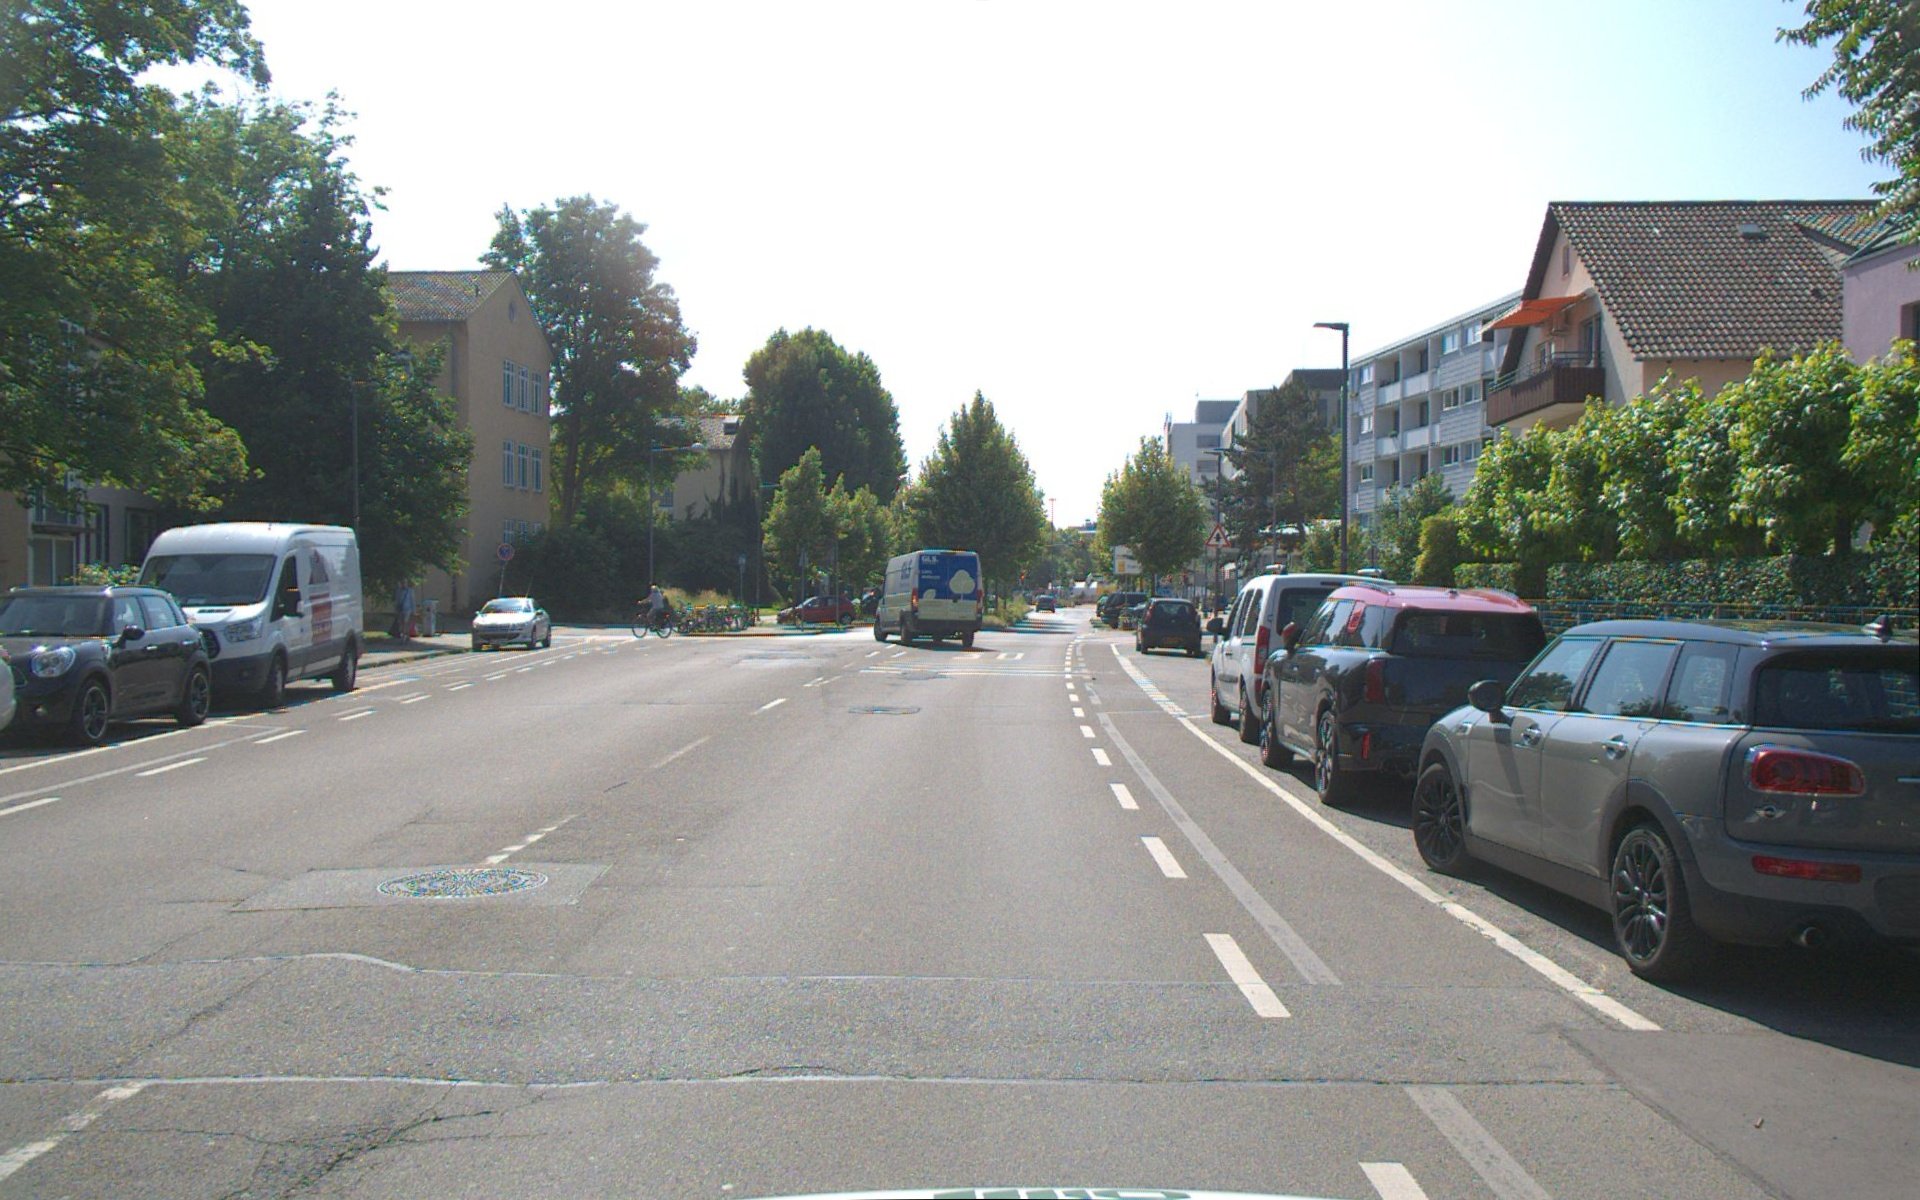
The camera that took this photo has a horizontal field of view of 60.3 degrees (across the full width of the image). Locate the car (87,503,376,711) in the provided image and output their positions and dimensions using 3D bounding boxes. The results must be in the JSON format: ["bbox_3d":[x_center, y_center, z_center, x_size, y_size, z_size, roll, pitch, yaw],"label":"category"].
[{"bbox_3d":[-10.048,0.046,23.425,2.049,2.540,5.944,-1,1,-7],"label":"car"}]

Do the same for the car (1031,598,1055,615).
[{"bbox_3d":[7.452,0.586,148.621,1.952,1.422,4.000,0,0,1],"label":"car"}]

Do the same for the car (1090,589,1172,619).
[{"bbox_3d":[9.960,0.226,96.335,4.680,1.689,1.735,0,0,-30],"label":"car"}]

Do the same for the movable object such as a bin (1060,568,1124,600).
[{"bbox_3d":[19.960,-2.411,250.296,9.470,4.629,3.166,1,0,6],"label":"movable object such as a bin"}]

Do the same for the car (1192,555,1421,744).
[{"bbox_3d":[3.871,0.524,19.230,1.726,1.858,4.599,2,-1,1],"label":"car"}]

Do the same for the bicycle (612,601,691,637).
[{"bbox_3d":[-10.190,0.620,54.565,2.496,1.132,0.959,-1,1,28],"label":"bicycle"}]

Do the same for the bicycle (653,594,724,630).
[{"bbox_3d":[-10.089,0.439,61.561,2.492,1.261,0.740,-1,0,1],"label":"bicycle"}]

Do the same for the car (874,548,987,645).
[{"bbox_3d":[-0.943,-0.112,47.368,2.235,2.568,6.120,-1,0,-10],"label":"car"}]

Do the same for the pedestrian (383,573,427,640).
[{"bbox_3d":[-15.246,0.183,45.476,0.953,1.811,0.725,0,0,0],"label":"pedestrian"}]

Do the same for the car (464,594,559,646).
[{"bbox_3d":[-12.179,0.525,45.118,1.686,1.289,3.997,-1,1,-4],"label":"car"}]

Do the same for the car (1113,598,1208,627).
[{"bbox_3d":[8.993,0.542,74.208,3.931,1.258,1.741,0,0,-22],"label":"car"}]

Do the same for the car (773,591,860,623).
[{"bbox_3d":[-7.037,0.319,80.934,3.924,1.492,1.991,-1,1,-17],"label":"car"}]

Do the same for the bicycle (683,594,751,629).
[{"bbox_3d":[-9.354,0.447,63.767,2.463,1.278,0.740,-1,0,1],"label":"bicycle"}]

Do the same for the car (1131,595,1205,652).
[{"bbox_3d":[5.548,0.616,44.515,1.583,1.414,4.001,2,0,2],"label":"car"}]

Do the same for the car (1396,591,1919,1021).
[{"bbox_3d":[3.578,0.719,7.935,1.727,1.469,4.066,-1,1,-3],"label":"car"}]

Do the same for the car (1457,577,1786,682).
[{"bbox_3d":[11.491,0.500,28.989,4.982,1.736,1.979,0,0,1],"label":"car"}]

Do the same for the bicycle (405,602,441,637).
[{"bbox_3d":[-17.129,0.616,52.764,0.375,1.100,1.688,0,1,-45],"label":"bicycle"}]

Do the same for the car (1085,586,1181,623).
[{"bbox_3d":[8.070,0.214,77.082,4.062,1.668,2.024,0,0,-30],"label":"car"}]

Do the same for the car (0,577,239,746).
[{"bbox_3d":[-9.279,0.563,17.546,1.686,1.586,3.997,-1,1,-4],"label":"car"}]

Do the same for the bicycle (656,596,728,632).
[{"bbox_3d":[-9.799,0.509,60.461,2.492,1.278,0.740,-1,0,1],"label":"bicycle"}]

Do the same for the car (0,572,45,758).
[{"bbox_3d":[-8.950,0.589,12.505,1.686,1.586,4.669,-1,1,-4],"label":"car"}]

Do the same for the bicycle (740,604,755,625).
[{"bbox_3d":[-9.427,0.647,73.278,0.510,0.919,1.270,-1,-1,-1],"label":"bicycle"}]

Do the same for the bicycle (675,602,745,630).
[{"bbox_3d":[-9.457,0.612,62.653,2.492,1.005,0.740,-1,1,1],"label":"bicycle"}]

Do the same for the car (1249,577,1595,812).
[{"bbox_3d":[3.572,0.625,13.603,1.726,1.621,4.314,0,1,1],"label":"car"}]

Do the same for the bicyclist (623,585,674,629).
[{"bbox_3d":[-10.276,0.231,54.573,1.325,1.428,0.958,-1,1,28],"label":"bicyclist"}]

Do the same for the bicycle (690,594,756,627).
[{"bbox_3d":[-9.329,0.421,65.212,2.492,1.278,0.740,0,0,1],"label":"bicycle"}]

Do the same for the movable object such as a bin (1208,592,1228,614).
[{"bbox_3d":[19.915,0.218,127.795,1.280,1.620,1.396,-2,0,1],"label":"movable object such as a bin"}]
